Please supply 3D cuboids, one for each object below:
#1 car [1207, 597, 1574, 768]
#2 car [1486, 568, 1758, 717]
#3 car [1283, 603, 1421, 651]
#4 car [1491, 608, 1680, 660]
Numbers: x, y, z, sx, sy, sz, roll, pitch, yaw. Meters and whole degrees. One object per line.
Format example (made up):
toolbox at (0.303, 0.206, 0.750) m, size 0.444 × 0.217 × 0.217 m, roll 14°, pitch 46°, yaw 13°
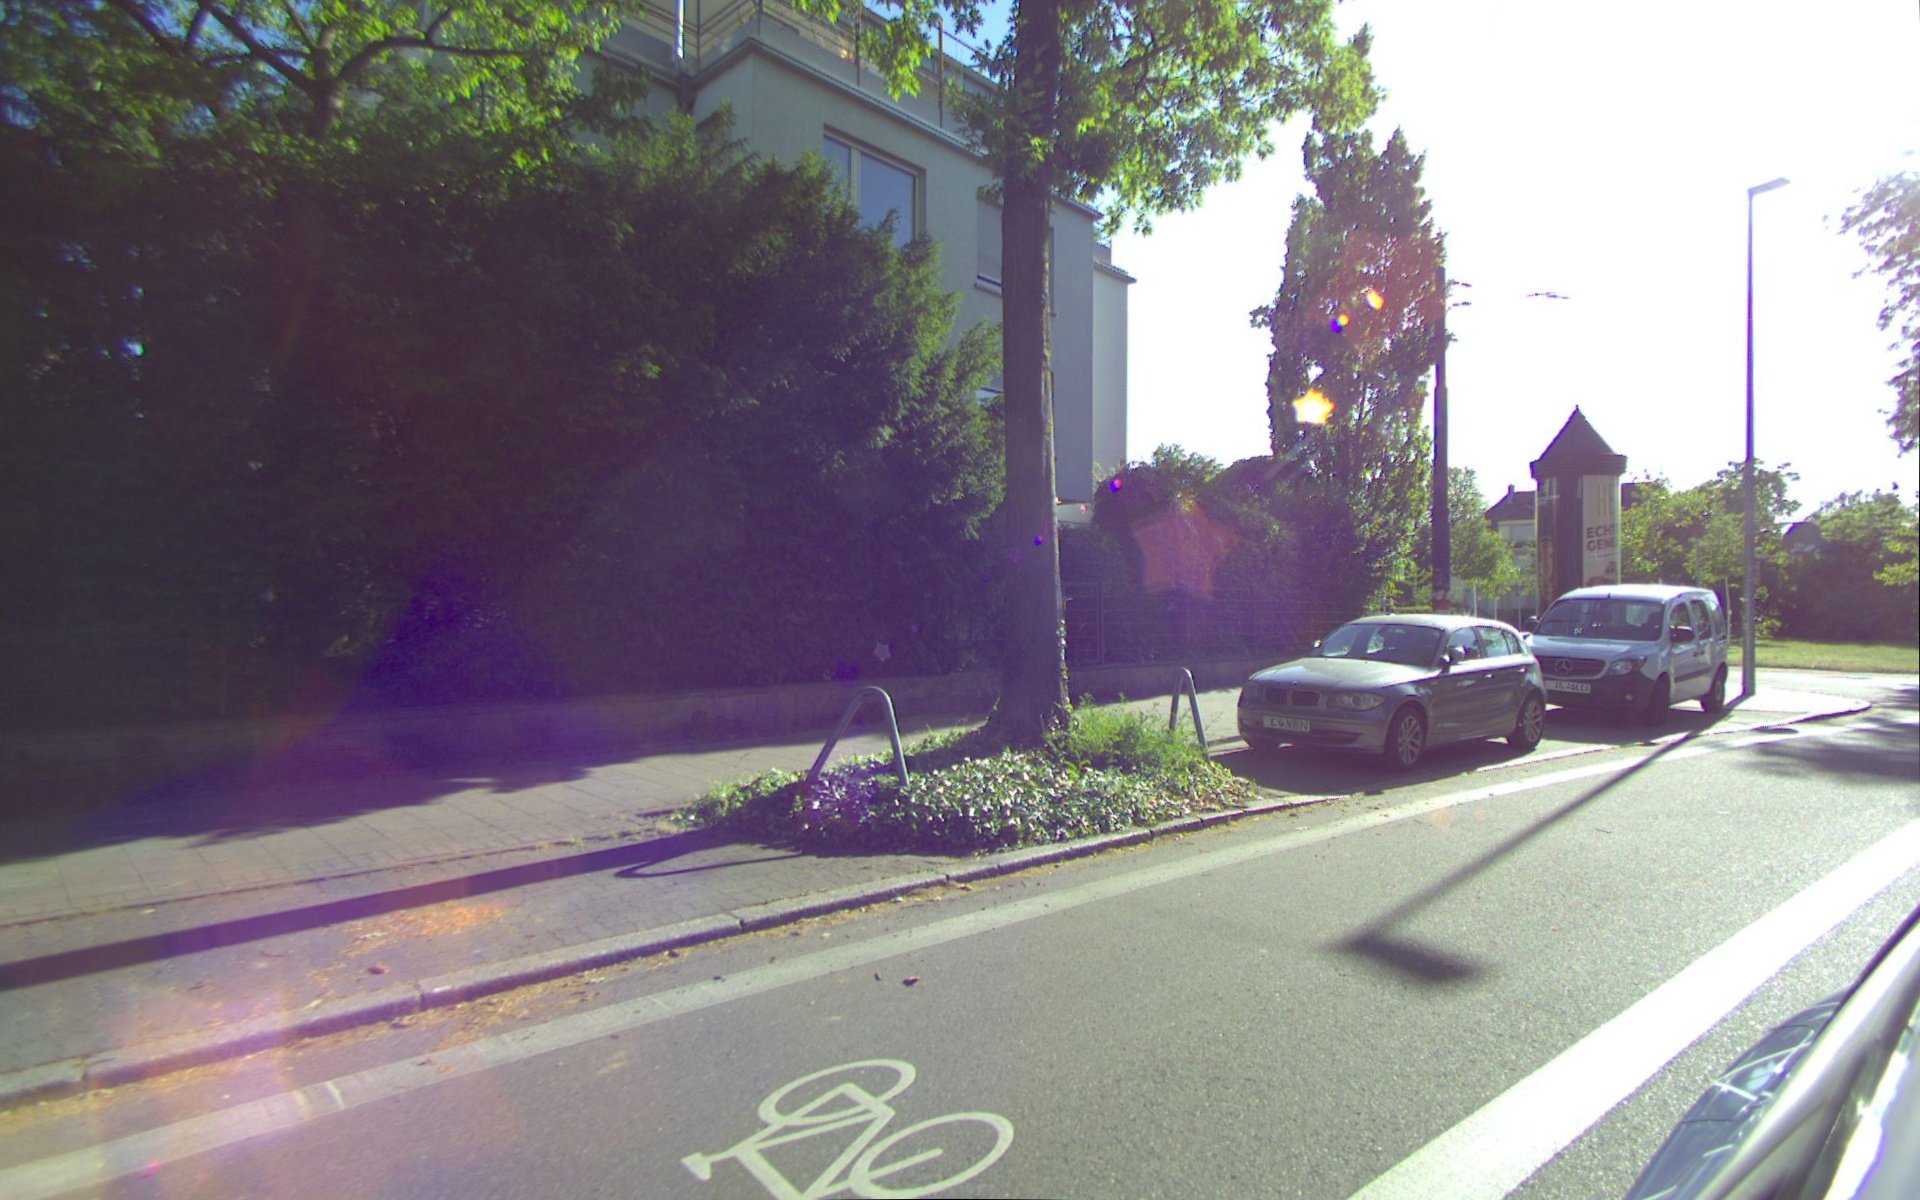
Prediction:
car at (4.730, 0.699, 10.841) m, size 4.257 × 1.441 × 1.997 m, roll 0°, pitch 1°, yaw -41°
car at (9.482, 0.514, 14.332) m, size 4.668 × 1.769 × 2.026 m, roll 1°, pitch 0°, yaw -41°
car at (13.935, 0.898, 36.156) m, size 1.806 × 1.529 × 4.292 m, roll -3°, pitch 1°, yaw -36°
car at (18.724, 0.963, 30.456) m, size 1.935 × 1.386 × 4.515 m, roll 0°, pitch 0°, yaw -42°
